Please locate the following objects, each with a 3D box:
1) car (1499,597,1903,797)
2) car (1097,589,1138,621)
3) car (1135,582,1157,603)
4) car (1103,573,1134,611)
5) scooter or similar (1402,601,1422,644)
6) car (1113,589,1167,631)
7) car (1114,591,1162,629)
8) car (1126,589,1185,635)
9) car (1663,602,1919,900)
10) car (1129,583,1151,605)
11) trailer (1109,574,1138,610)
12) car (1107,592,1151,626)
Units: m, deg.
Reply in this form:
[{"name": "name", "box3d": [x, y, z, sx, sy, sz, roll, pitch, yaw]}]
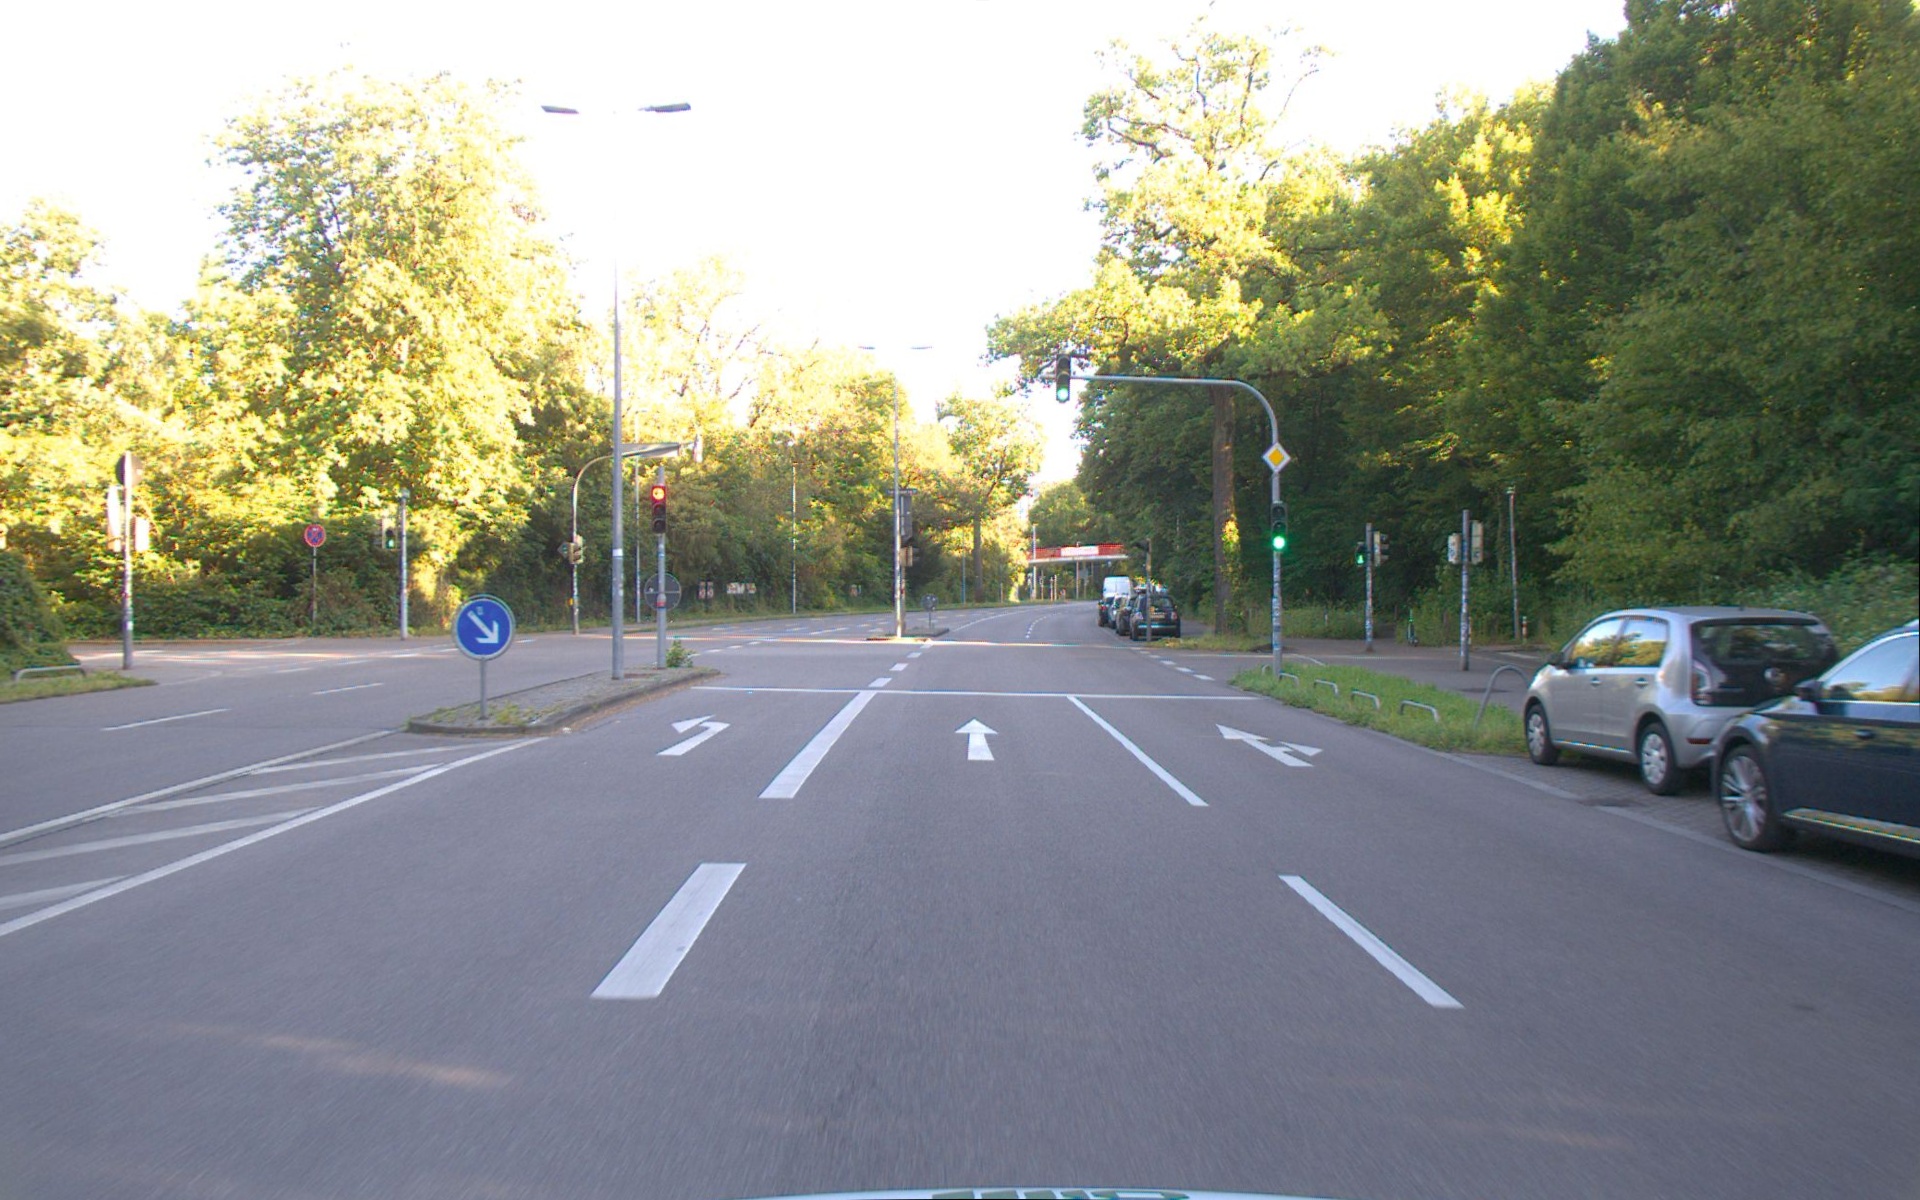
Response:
[{"name": "car", "box3d": [6.329, 0.747, 14.646, 1.683, 1.494, 3.871, -1, 0, -3]}, {"name": "car", "box3d": [7.383, 0.244, 77.848, 1.682, 1.436, 4.489, -1, 0, 3]}, {"name": "car", "box3d": [17.905, -0.700, 159.072, 1.829, 2.016, 5.479, -1, 0, 10]}, {"name": "car", "box3d": [10.742, -0.511, 111.653, 1.863, 2.466, 5.580, -1, 0, 8]}, {"name": "scooter or similar", "box3d": [12.574, 0.623, 46.027, 0.370, 1.164, 1.224, 0, 0, 8]}, {"name": "car", "box3d": [6.740, 0.369, 62.223, 1.682, 1.494, 4.989, -1, 0, 3]}, {"name": "car", "box3d": [7.247, 0.409, 67.779, 1.682, 1.494, 4.204, -1, 0, 3]}, {"name": "car", "box3d": [6.560, 0.396, 55.793, 1.682, 1.494, 3.758, -1, 0, 3]}, {"name": "car", "box3d": [5.786, 0.775, 9.055, 1.725, 1.494, 5.117, -1, 0, 1]}, {"name": "car", "box3d": [15.940, -0.520, 146.561, 1.721, 1.835, 4.741, -1, 0, 8]}, {"name": "trailer", "box3d": [11.728, -0.562, 118.229, 1.863, 2.466, 5.130, -1, 0, 8]}, {"name": "car", "box3d": [7.414, 0.392, 72.982, 1.682, 1.436, 4.126, -1, 0, 3]}]
